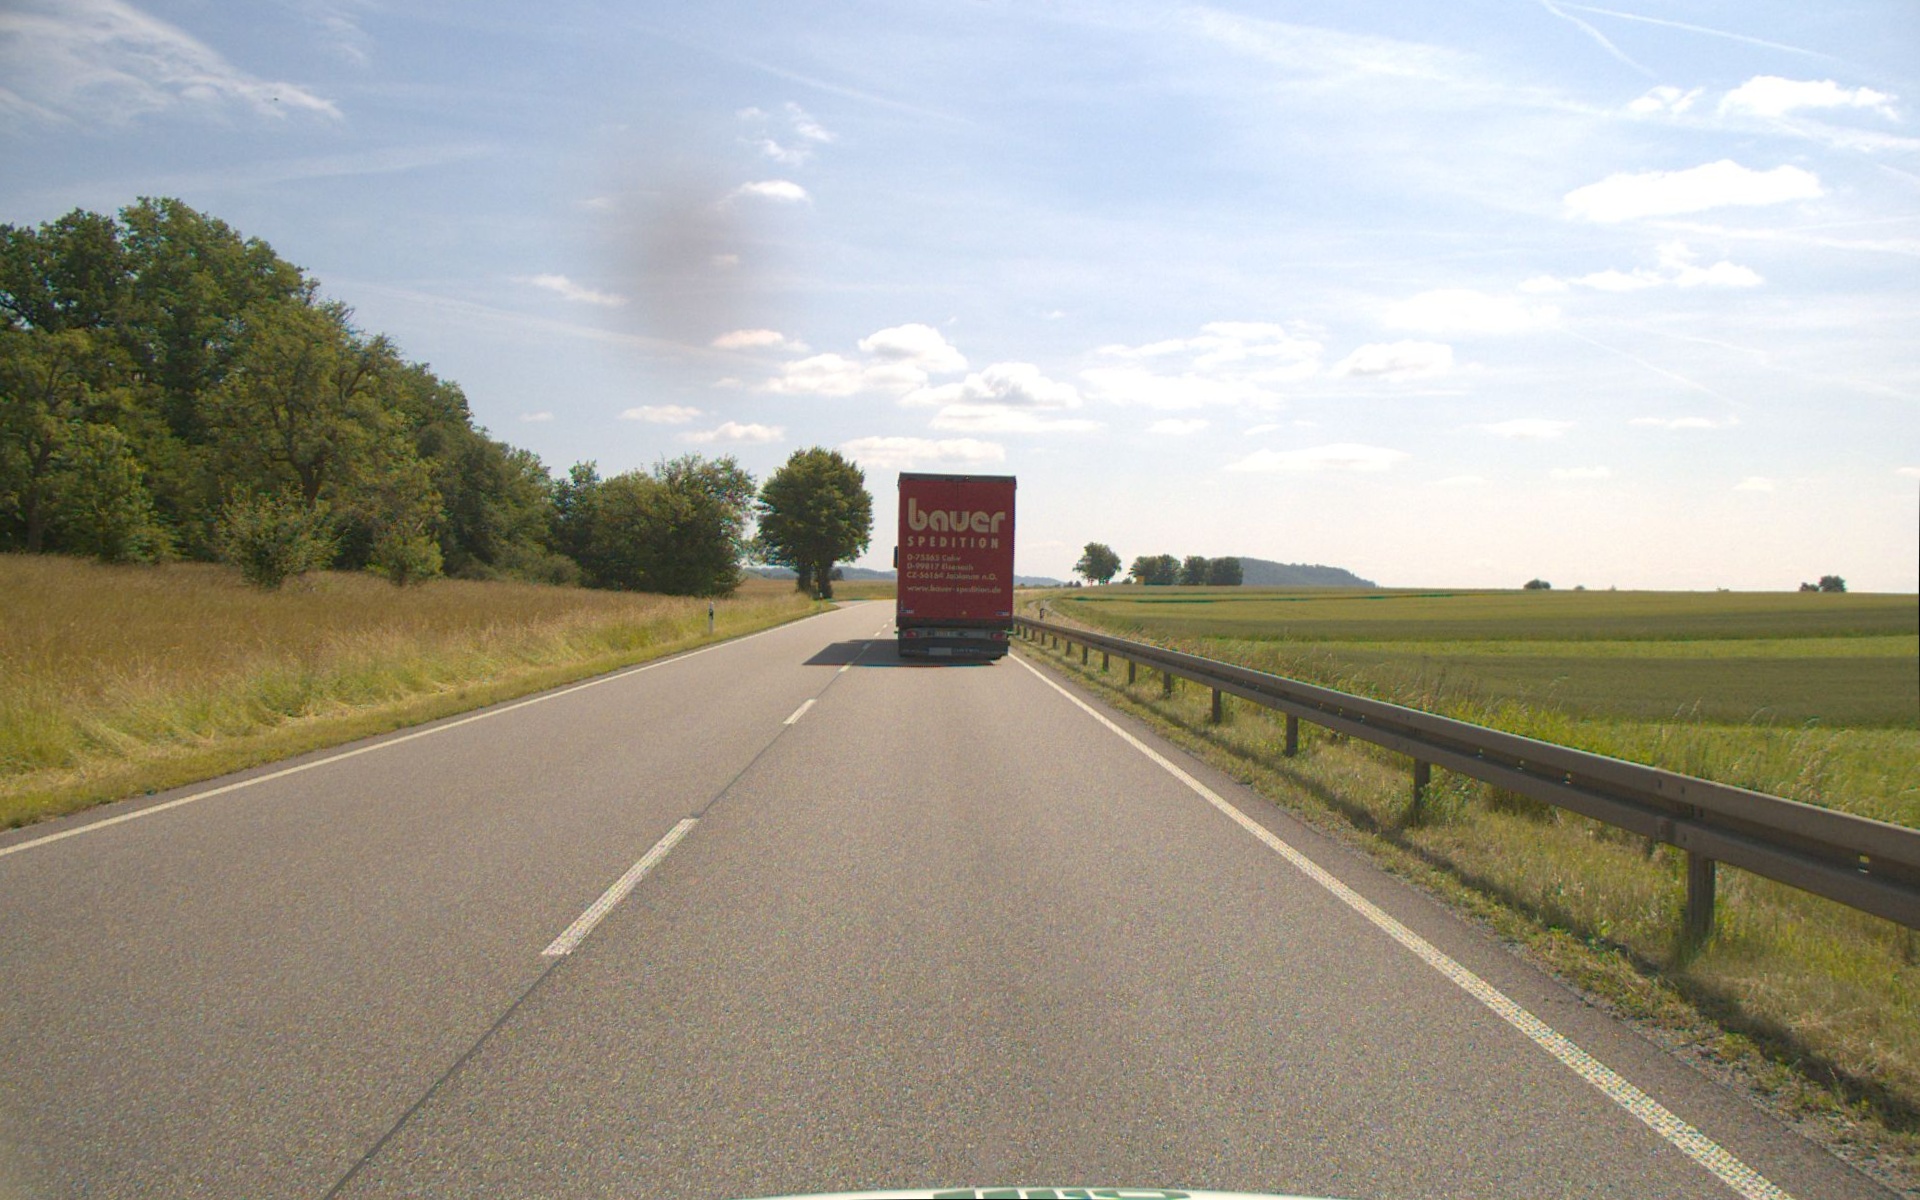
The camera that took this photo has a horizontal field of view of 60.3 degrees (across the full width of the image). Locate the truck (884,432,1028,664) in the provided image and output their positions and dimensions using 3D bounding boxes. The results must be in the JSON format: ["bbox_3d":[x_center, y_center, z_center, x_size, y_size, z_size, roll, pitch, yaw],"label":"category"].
[{"bbox_3d":[-0.227,-1.055,39.307,2.915,4.796,9.362,1,0,-2],"label":"truck"}]
